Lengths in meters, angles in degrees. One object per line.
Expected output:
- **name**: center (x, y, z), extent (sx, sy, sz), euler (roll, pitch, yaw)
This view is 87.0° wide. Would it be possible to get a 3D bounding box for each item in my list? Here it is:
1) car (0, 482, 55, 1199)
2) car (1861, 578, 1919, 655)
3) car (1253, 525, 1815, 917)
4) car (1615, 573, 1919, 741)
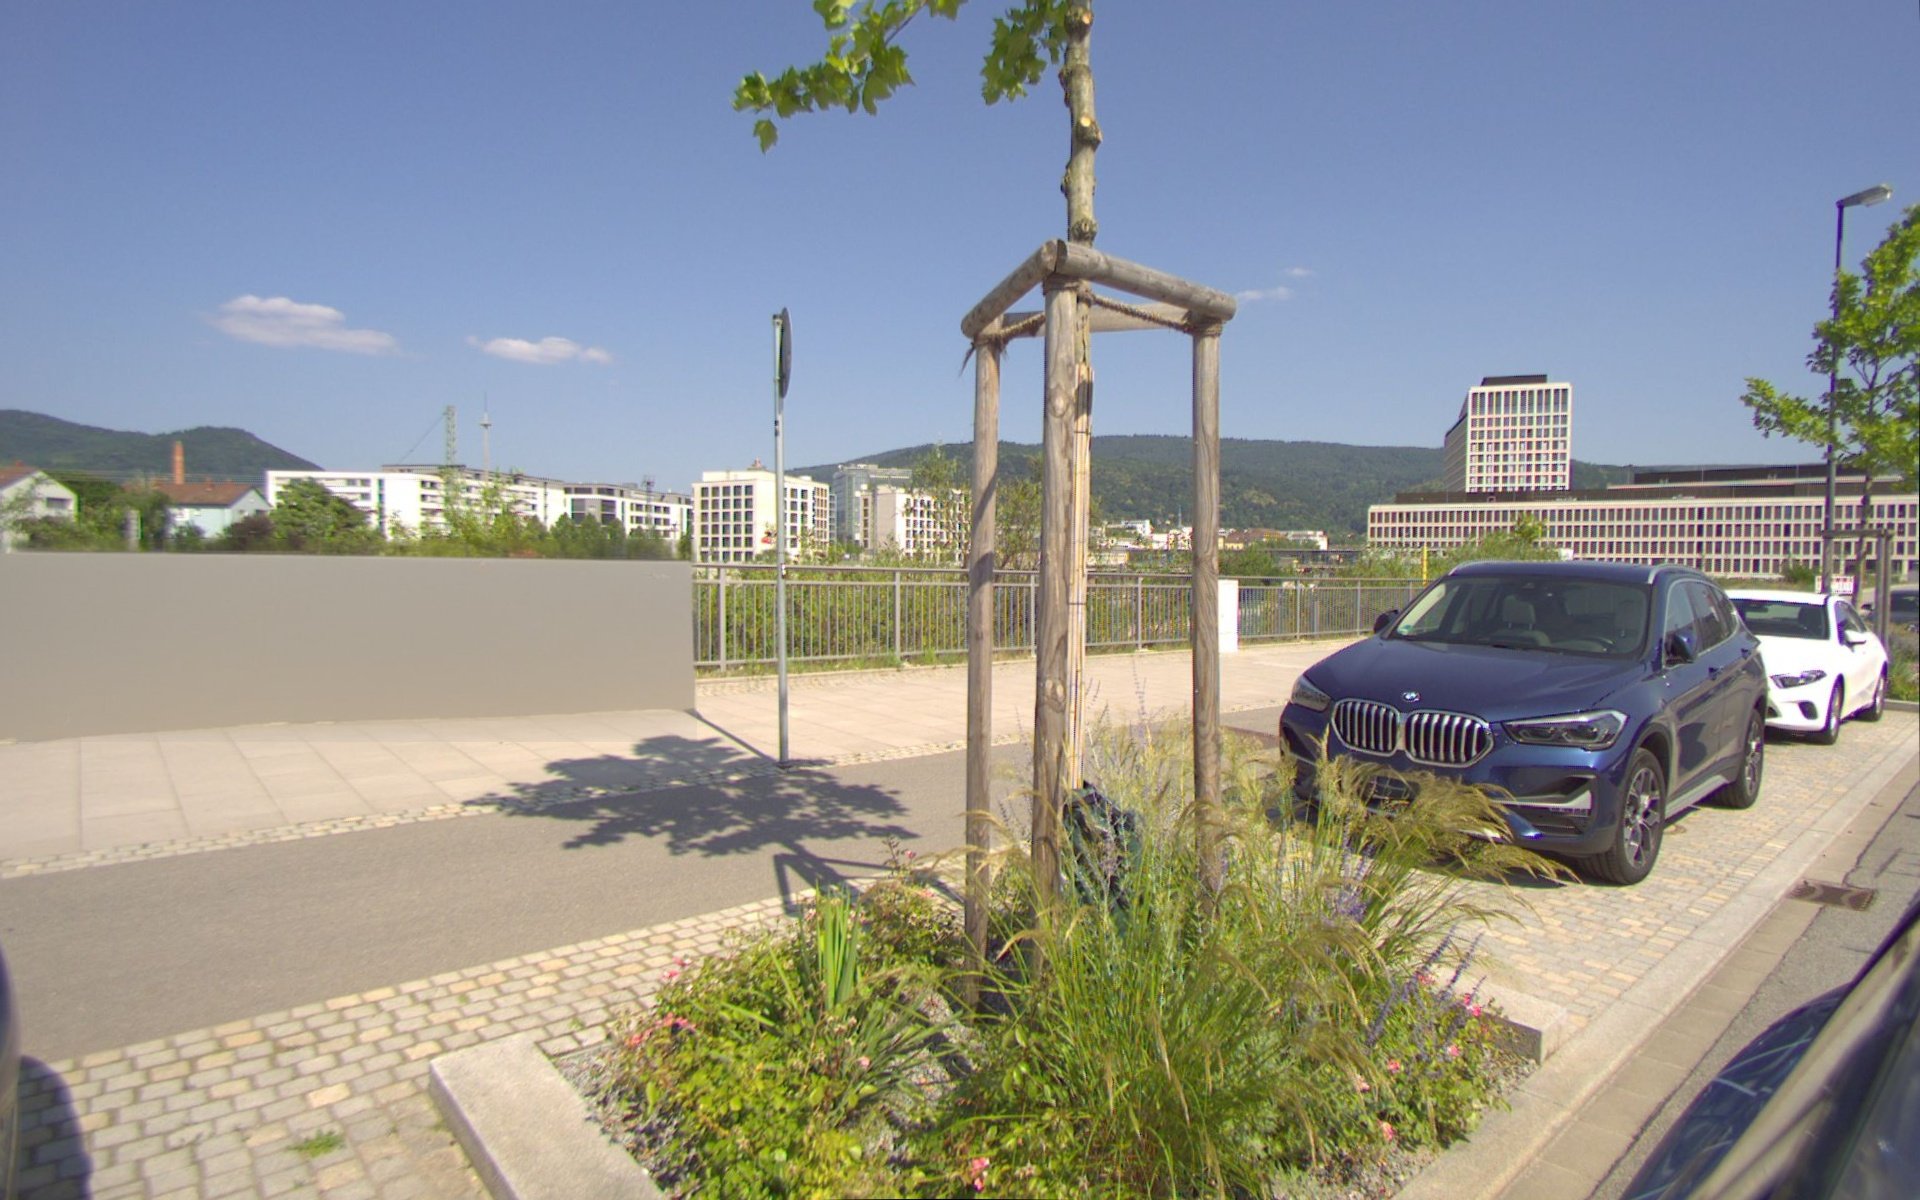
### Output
- **car**: center (-2.835, 0.608, 0.525), extent (3.485, 1.574, 1.585), euler (0, 4, -42)
- **car**: center (20.271, 0.324, 21.030), extent (3.849, 1.449, 1.808), euler (-1, 5, -41)
- **car**: center (3.850, 0.439, 6.458), extent (4.197, 1.703, 1.807), euler (-1, 4, -41)
- **car**: center (8.898, 0.459, 11.008), extent (4.194, 1.390, 1.711), euler (-1, 5, -39)
